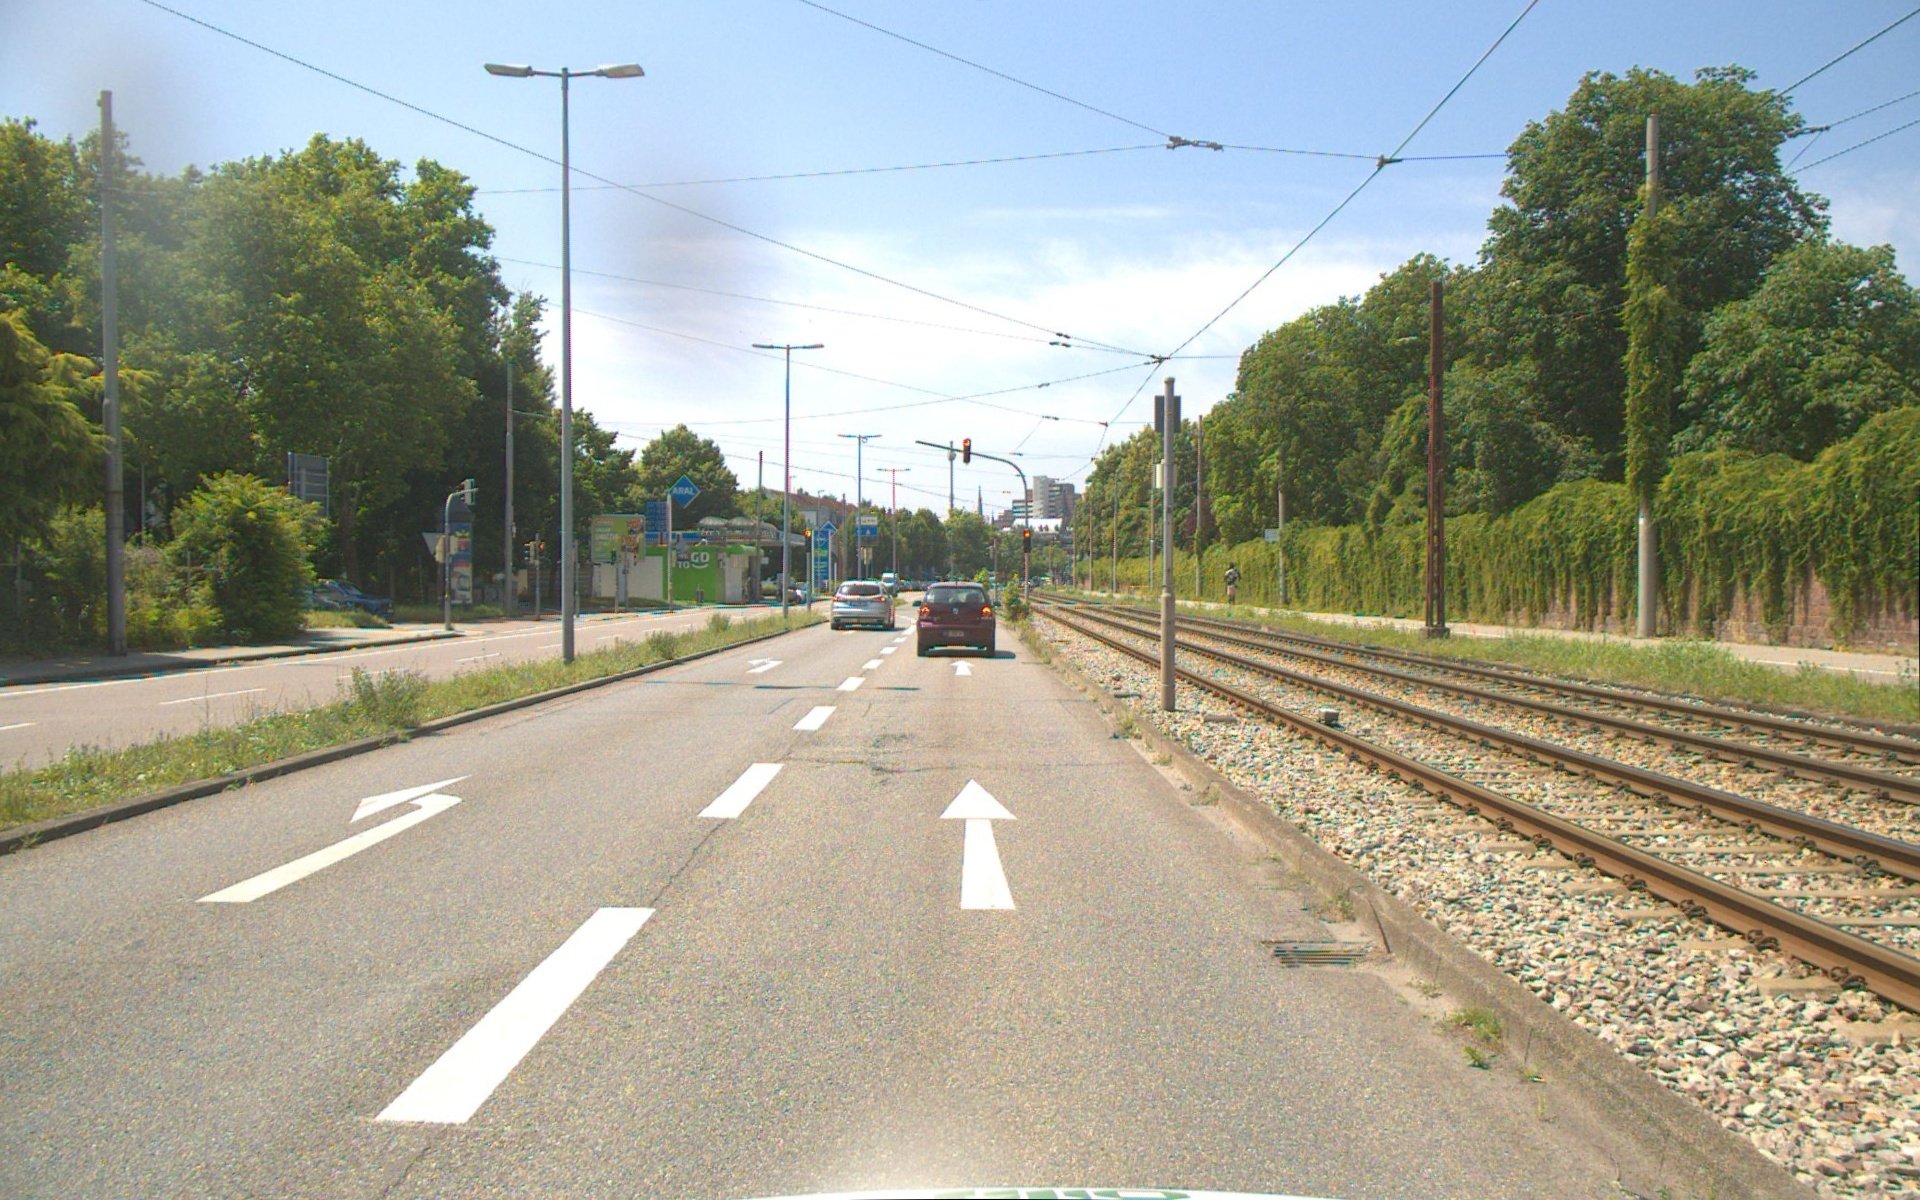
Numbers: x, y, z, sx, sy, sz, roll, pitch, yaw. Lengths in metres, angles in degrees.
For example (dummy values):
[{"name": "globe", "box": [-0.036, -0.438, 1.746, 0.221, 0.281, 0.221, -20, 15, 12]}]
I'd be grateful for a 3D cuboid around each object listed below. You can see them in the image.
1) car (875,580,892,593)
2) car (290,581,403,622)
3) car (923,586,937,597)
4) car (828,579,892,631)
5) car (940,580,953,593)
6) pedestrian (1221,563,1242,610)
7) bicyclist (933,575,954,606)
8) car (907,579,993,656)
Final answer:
[{"name": "car", "box": [-9.699, -1.711, 208.724, 1.955, 1.624, 3.996, 1, 0, -5]}, {"name": "car", "box": [-24.633, 0.057, 66.430, 3.901, 1.607, 1.773, 0, 1, 11]}, {"name": "car", "box": [-3.968, -1.174, 220.709, 1.701, 1.443, 4.001, 0, 1, 1]}, {"name": "car", "box": [-3.021, 0.136, 50.652, 1.668, 1.506, 3.716, 1, 0, 0]}, {"name": "car", "box": [-2.073, -2.039, 252.318, 1.953, 1.780, 3.999, 1, 0, -2]}, {"name": "pedestrian", "box": [10.412, -0.522, 63.507, 0.648, 1.756, 0.816, 0, 0, -1]}, {"name": "bicyclist", "box": [-0.900, -0.522, 89.258, 0.927, 1.621, 1.085, 1, -1, -9]}, {"name": "car", "box": [-0.246, 0.324, 34.246, 1.668, 1.503, 3.715, 0, 1, -2]}]
